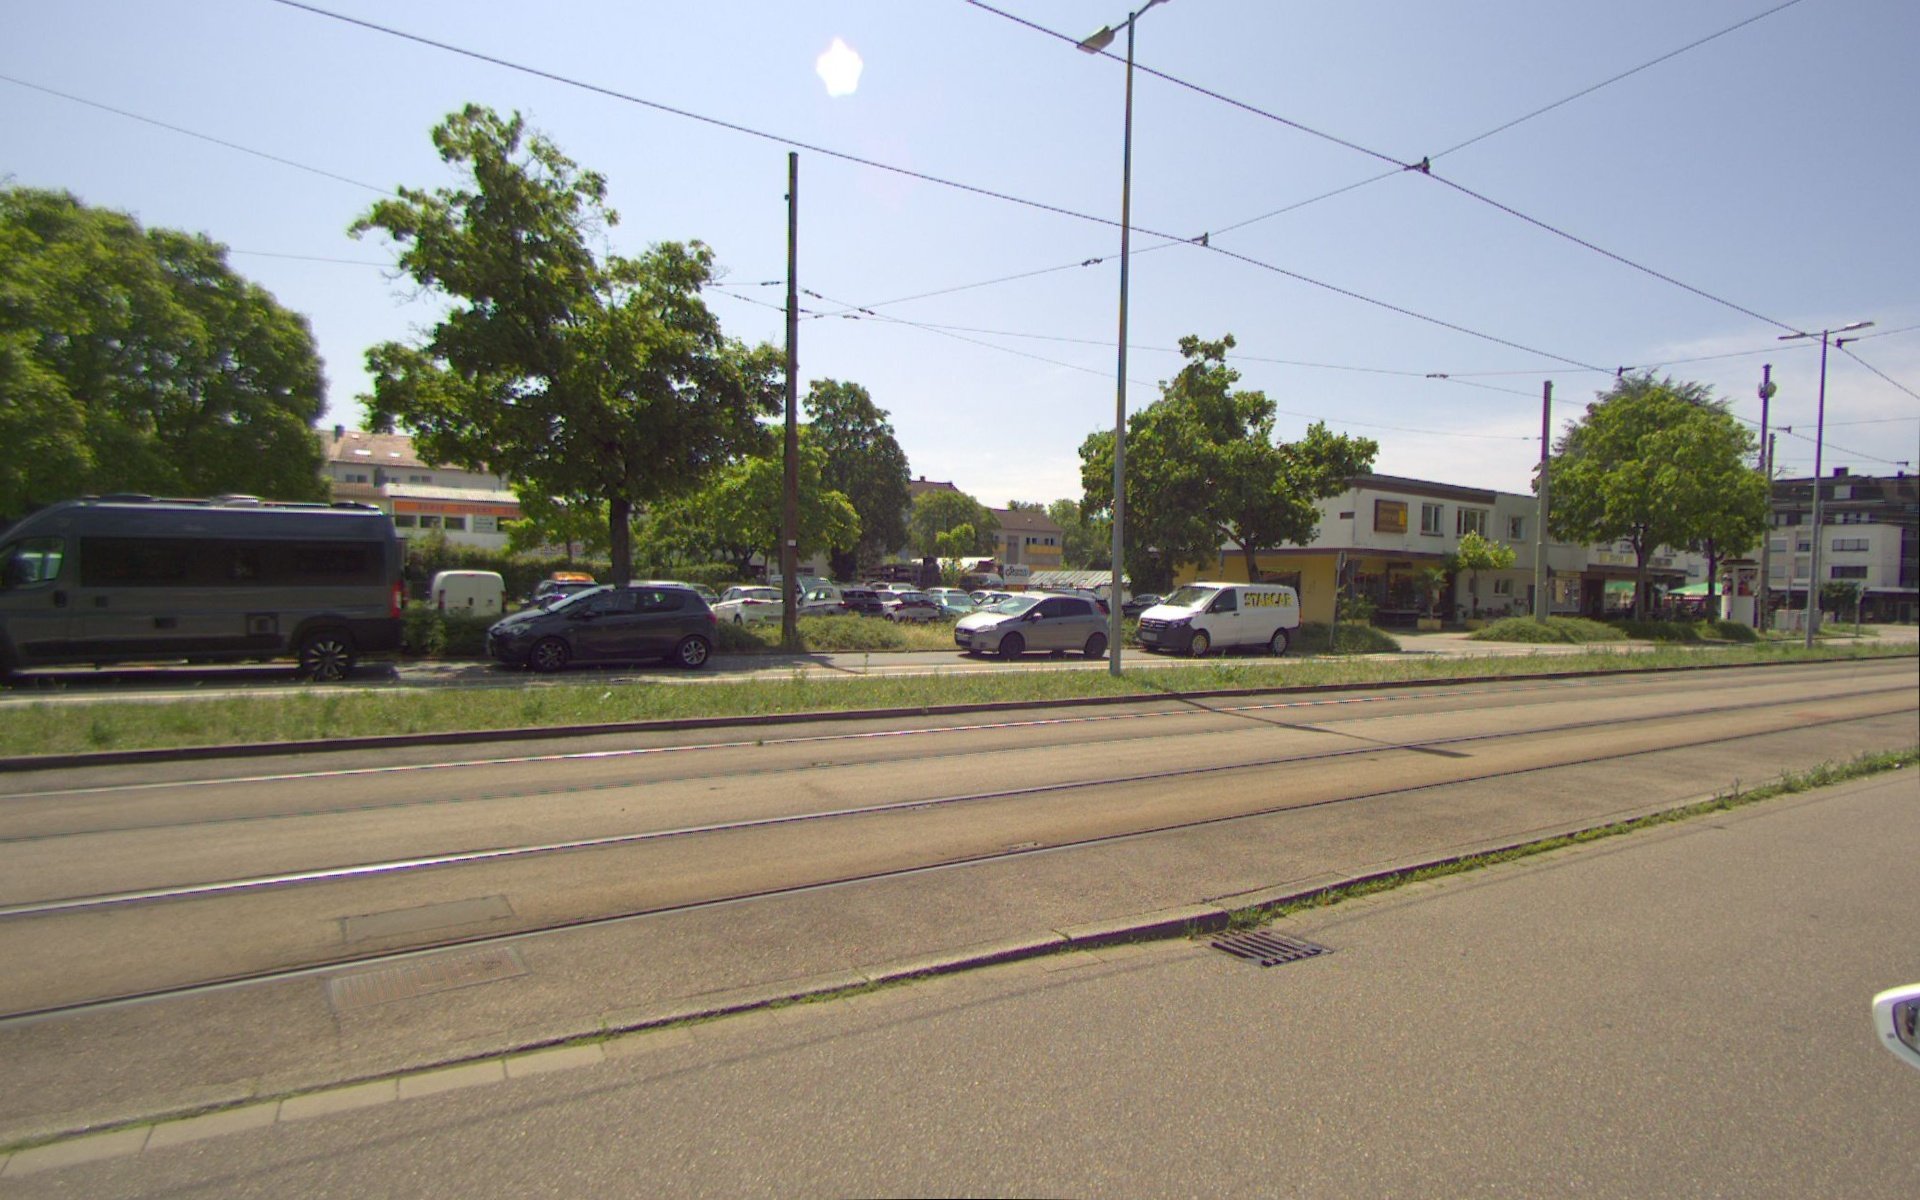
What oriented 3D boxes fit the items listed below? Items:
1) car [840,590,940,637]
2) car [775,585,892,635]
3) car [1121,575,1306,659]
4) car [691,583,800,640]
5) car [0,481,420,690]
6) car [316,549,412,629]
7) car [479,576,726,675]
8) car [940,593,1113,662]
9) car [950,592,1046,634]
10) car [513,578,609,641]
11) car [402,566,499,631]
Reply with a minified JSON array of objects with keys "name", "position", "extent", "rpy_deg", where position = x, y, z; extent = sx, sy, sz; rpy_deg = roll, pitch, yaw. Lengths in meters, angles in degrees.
[{"name":"car","position":[-2.423,0.425,33.982],"extent":[1.630,1.450,3.837],"rpy_deg":[1,1,-35]},{"name":"car","position":[-4.109,0.291,32.156],"extent":[1.954,1.450,3.973],"rpy_deg":[0,1,-38]},{"name":"car","position":[6.988,0.438,27.443],"extent":[5.110,1.992,1.863],"rpy_deg":[1,5,-34]},{"name":"car","position":[-6.735,0.301,31.150],"extent":[1.778,1.624,4.351],"rpy_deg":[1,1,-35]},{"name":"car","position":[-11.566,-0.256,14.840],"extent":[6.109,2.692,2.383],"rpy_deg":[1,5,-34]},{"name":"car","position":[-15.137,-0.295,25.399],"extent":[1.778,1.838,4.687],"rpy_deg":[0,1,-35]},{"name":"car","position":[-6.362,0.435,18.063],"extent":[3.982,1.543,1.304],"rpy_deg":[1,5,-34]},{"name":"car","position":[1.592,0.628,23.775],"extent":[3.823,1.439,1.622],"rpy_deg":[1,3,-32]},{"name":"car","position":[1.371,0.444,37.592],"extent":[1.630,1.450,3.837],"rpy_deg":[1,1,-35]},{"name":"car","position":[-11.281,0.208,28.227],"extent":[1.777,1.624,4.355],"rpy_deg":[1,1,-32]},{"name":"car","position":[-13.888,-0.070,27.244],"extent":[1.778,1.624,4.351],"rpy_deg":[1,1,-35]}]
